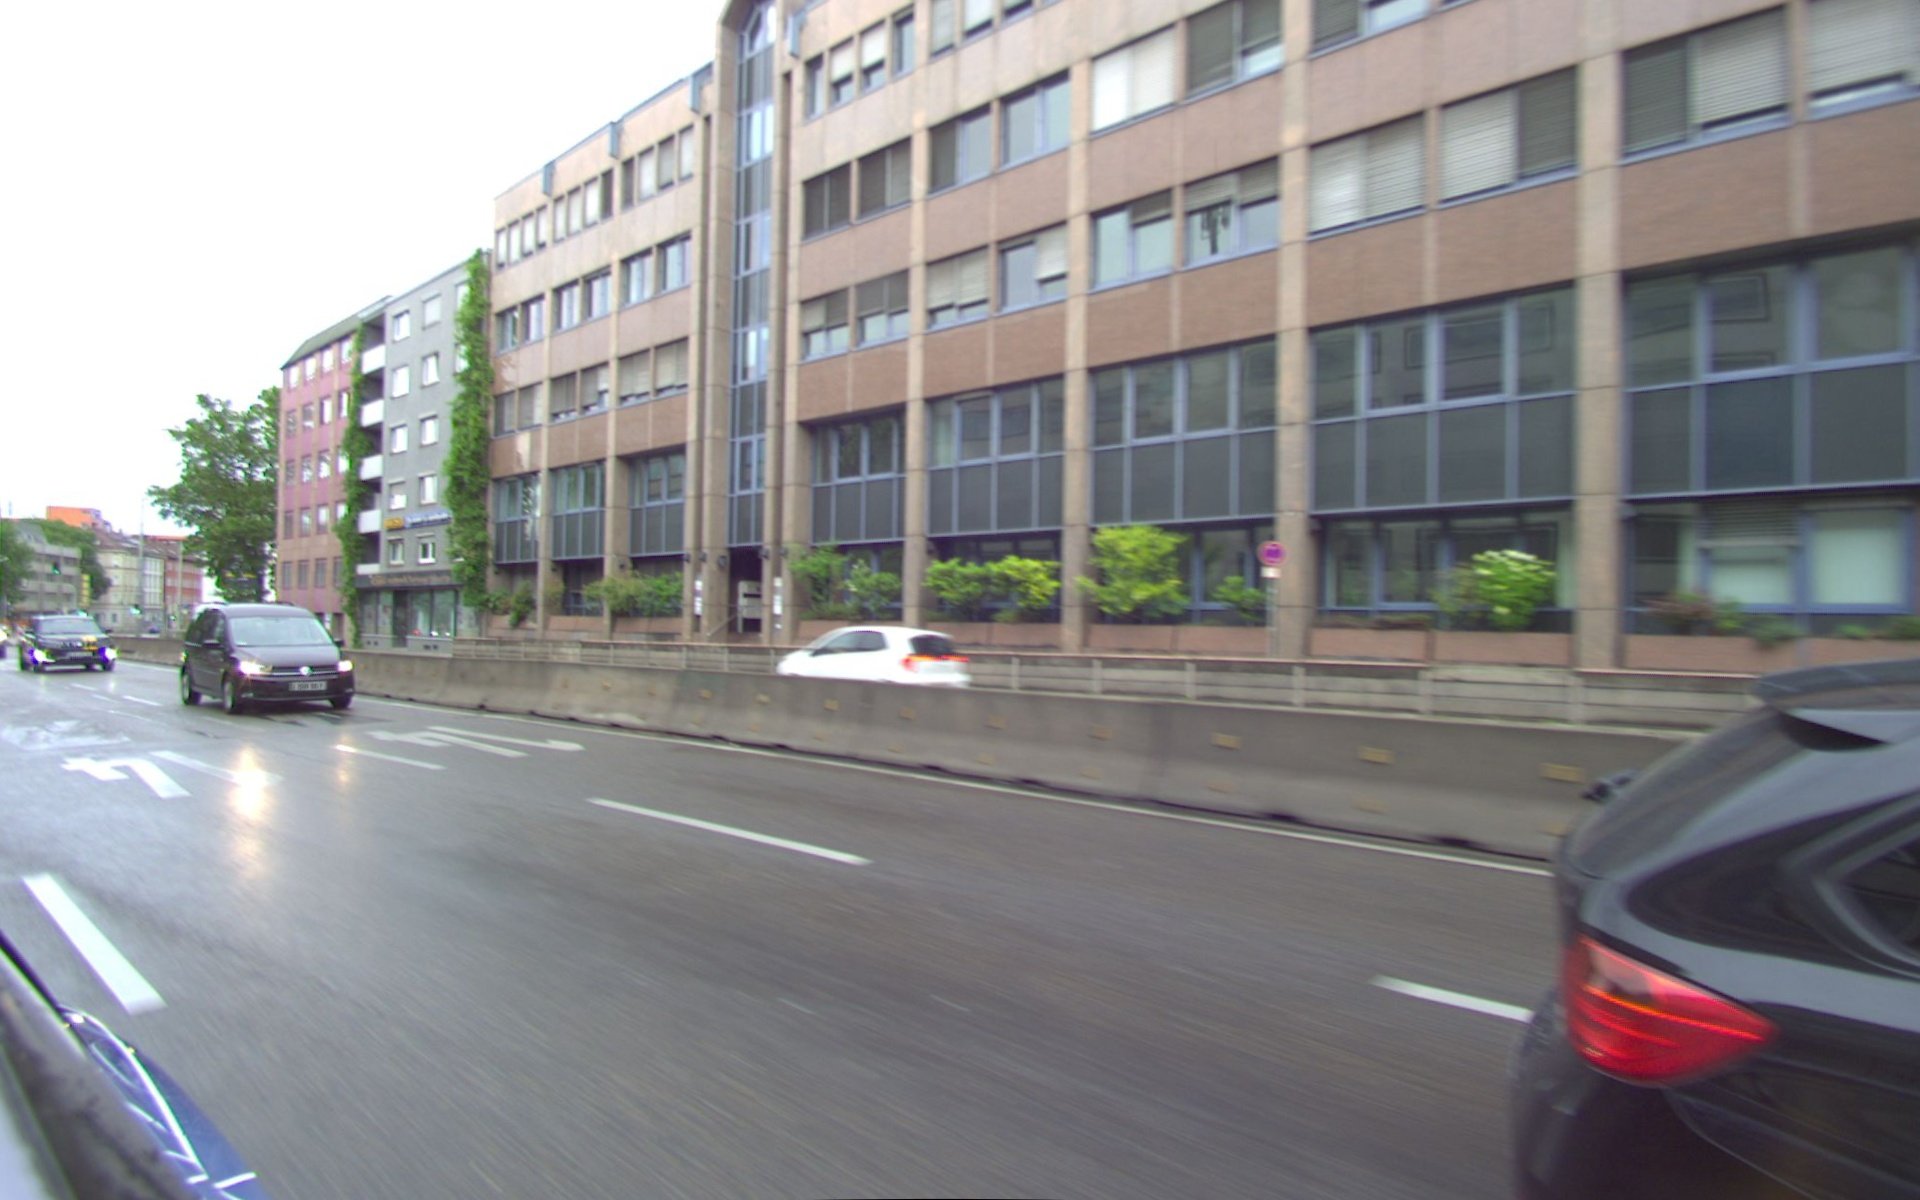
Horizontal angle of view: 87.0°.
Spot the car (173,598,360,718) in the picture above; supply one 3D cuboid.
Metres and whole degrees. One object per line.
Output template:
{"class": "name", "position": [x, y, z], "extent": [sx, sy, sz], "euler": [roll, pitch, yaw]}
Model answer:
{"class": "car", "position": [-12.046, 0.932, 17.475], "extent": [4.251, 1.814, 1.774], "euler": [-1, -2, 43]}

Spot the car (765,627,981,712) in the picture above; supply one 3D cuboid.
{"class": "car", "position": [-1.581, 1.136, 17.698], "extent": [3.695, 1.329, 1.701], "euler": [-2, -2, 41]}

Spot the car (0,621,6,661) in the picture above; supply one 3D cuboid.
{"class": "car", "position": [-39.479, 1.636, 40.258], "extent": [4.654, 1.545, 1.749], "euler": [-2, -2, 41]}

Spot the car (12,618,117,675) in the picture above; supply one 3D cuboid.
{"class": "car", "position": [-26.290, 1.336, 29.659], "extent": [4.354, 1.545, 1.749], "euler": [-2, -2, 41]}

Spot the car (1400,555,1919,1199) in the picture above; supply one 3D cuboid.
{"class": "car", "position": [3.023, 0.660, 0.739], "extent": [4.653, 1.454, 1.749], "euler": [-1, -2, 41]}
